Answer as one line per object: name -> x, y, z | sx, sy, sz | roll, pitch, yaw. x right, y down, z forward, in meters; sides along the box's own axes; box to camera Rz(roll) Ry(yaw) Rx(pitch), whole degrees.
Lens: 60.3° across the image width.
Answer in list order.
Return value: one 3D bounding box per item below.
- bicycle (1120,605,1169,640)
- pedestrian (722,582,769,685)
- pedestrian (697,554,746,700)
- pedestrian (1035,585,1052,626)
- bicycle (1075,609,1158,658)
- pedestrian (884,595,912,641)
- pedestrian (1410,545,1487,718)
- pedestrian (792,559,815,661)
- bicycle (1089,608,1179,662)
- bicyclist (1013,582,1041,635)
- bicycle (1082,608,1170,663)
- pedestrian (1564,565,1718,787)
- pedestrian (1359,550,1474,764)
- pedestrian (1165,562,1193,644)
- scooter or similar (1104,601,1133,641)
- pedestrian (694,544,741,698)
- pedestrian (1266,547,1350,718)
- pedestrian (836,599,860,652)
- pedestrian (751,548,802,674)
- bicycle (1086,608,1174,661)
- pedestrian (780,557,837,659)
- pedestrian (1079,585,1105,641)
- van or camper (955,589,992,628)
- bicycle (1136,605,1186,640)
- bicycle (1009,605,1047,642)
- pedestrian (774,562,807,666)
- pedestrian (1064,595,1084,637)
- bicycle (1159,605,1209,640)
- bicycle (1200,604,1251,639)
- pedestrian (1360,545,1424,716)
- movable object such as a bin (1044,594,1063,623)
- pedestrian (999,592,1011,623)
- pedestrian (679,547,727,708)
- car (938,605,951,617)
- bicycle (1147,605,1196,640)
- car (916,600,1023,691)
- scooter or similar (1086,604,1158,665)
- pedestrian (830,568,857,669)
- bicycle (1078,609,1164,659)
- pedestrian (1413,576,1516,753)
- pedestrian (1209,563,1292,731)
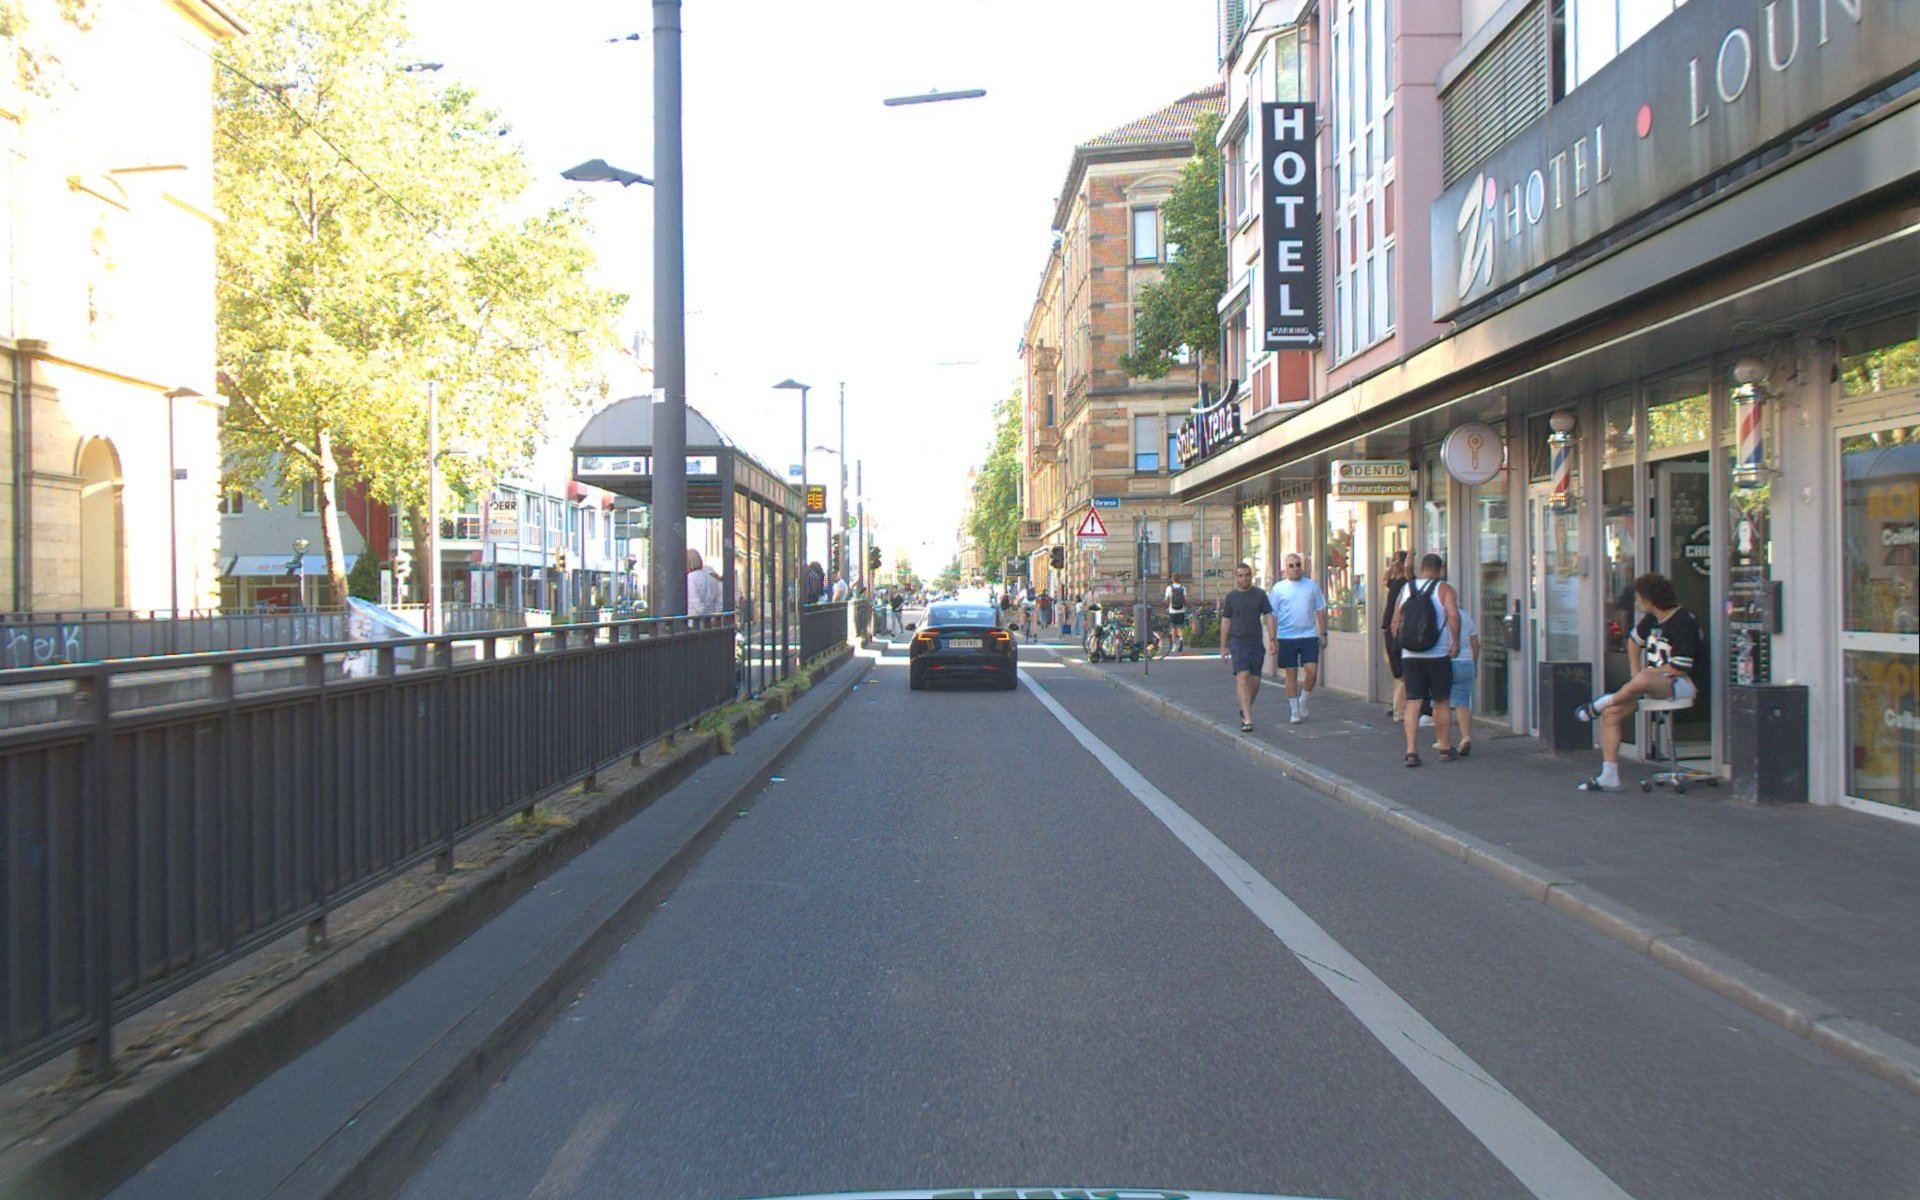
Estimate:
bicycle -> 6.051, 0.726, 54.315 | 0.440, 1.134, 1.788 | 0, 0, -40
pedestrian -> -2.699, 0.420, 20.811 | 0.529, 1.274, 0.460 | 1, -1, -2
pedestrian -> -2.650, 0.296, 18.410 | 0.314, 1.600, 0.543 | 0, -1, 19
pedestrian -> 3.629, 0.236, 71.928 | 0.461, 1.759, 0.586 | -1, 1, 35
bicycle -> 3.702, 0.792, 39.191 | 1.906, 1.126, 0.564 | -1, 0, -3
pedestrian -> -2.130, 0.622, 56.959 | 0.824, 1.576, 0.699 | 0, 0, 7
pedestrian -> 5.182, 0.328, 17.566 | 0.616, 1.800, 0.500 | -2, 0, -1
pedestrian -> -2.636, 0.169, 27.905 | 0.344, 1.698, 0.529 | 0, 0, -2
bicycle -> 3.834, 0.766, 36.517 | 1.906, 1.126, 0.564 | -1, 0, -3
bicyclist -> 2.120, 0.270, 52.290 | 0.644, 1.685, 0.924 | 0, -1, -14
bicycle -> 3.784, 0.807, 37.784 | 1.906, 1.186, 0.627 | -1, 0, -3
pedestrian -> 4.837, 0.525, 11.790 | 0.723, 1.498, 0.707 | -3, 0, 0
pedestrian -> 3.882, 0.474, 14.120 | 0.729, 1.757, 0.814 | 1, 0, -1
pedestrian -> 5.595, 0.091, 42.259 | 0.700, 2.020, 0.943 | 1, -5, 8
scooter or similar -> 5.169, 0.676, 54.048 | 0.384, 1.312, 1.515 | -1, 0, -16
pedestrian -> -2.553, 0.219, 17.461 | 0.415, 1.601, 0.592 | 0, 0, -1
pedestrian -> 3.924, 0.359, 18.703 | 0.691, 1.852, 0.763 | -3, 0, -1
pedestrian -> -2.850, 0.649, 42.043 | 0.470, 1.352, 0.354 | -1, 0, 29
pedestrian -> -2.676, 0.158, 24.165 | 0.676, 1.796, 0.747 | -1, 0, -2
bicycle -> 3.812, 0.773, 37.130 | 1.906, 1.126, 0.564 | -1, 0, -3
pedestrian -> -2.825, 0.148, 30.763 | 0.762, 1.863, 0.795 | 2, -1, -31
pedestrian -> 4.385, 0.429, 55.137 | 0.829, 1.839, 0.876 | -1, 1, 4
van or camper -> 0.723, 0.520, 92.185 | 1.892, 2.072, 5.473 | 1, -1, -1
bicycle -> 6.603, 0.735, 54.410 | 0.440, 1.134, 1.788 | 0, 0, -40
bicycle -> 2.147, 0.730, 52.199 | 0.636, 1.159, 2.088 | 0, 0, -14
pedestrian -> -2.757, 0.227, 26.937 | 0.483, 1.677, 0.589 | 0, 0, -2
pedestrian -> 3.927, 0.539, 56.855 | 0.562, 1.439, 0.581 | 1, 0, 13
bicycle -> 7.423, 0.751, 54.905 | 0.440, 1.134, 1.787 | 0, 0, -41
bicycle -> 8.815, 0.698, 54.947 | 0.440, 1.134, 1.787 | 0, 0, -41
pedestrian -> 4.883, 0.336, 18.735 | 0.442, 1.882, 0.811 | -2, 0, -2
movable object such as a bin -> 4.510, 0.411, 79.837 | 0.760, 1.371, 1.299 | 0, -1, -2
pedestrian -> 2.722, 0.449, 99.069 | 0.659, 1.846, 0.755 | 0, -1, -2
pedestrian -> -2.578, 0.271, 16.622 | 0.415, 1.601, 0.447 | 0, 0, -1
car -> -2.026, 1.432, 213.589 | 1.561, 1.458, 3.686 | -1, -1, 0
bicycle -> 6.986, 0.742, 54.676 | 0.440, 1.134, 1.787 | 0, 0, -41
car -> 0.105, 0.733, 28.396 | 1.685, 1.430, 3.708 | 1, 0, -2
scooter or similar -> 3.505, 0.749, 35.898 | 1.448, 1.250, 0.591 | -2, 0, -1
pedestrian -> -2.526, 0.402, 35.887 | 0.527, 2.157, 0.807 | -1, 0, -2
bicycle -> 3.743, 0.787, 38.544 | 1.906, 1.126, 0.564 | -1, 0, -3
pedestrian -> 4.489, 0.562, 14.752 | 0.623, 1.509, 0.654 | -3, 0, -2
pedestrian -> 3.159, 0.500, 18.050 | 0.654, 1.759, 0.810 | -3, 0, -2
